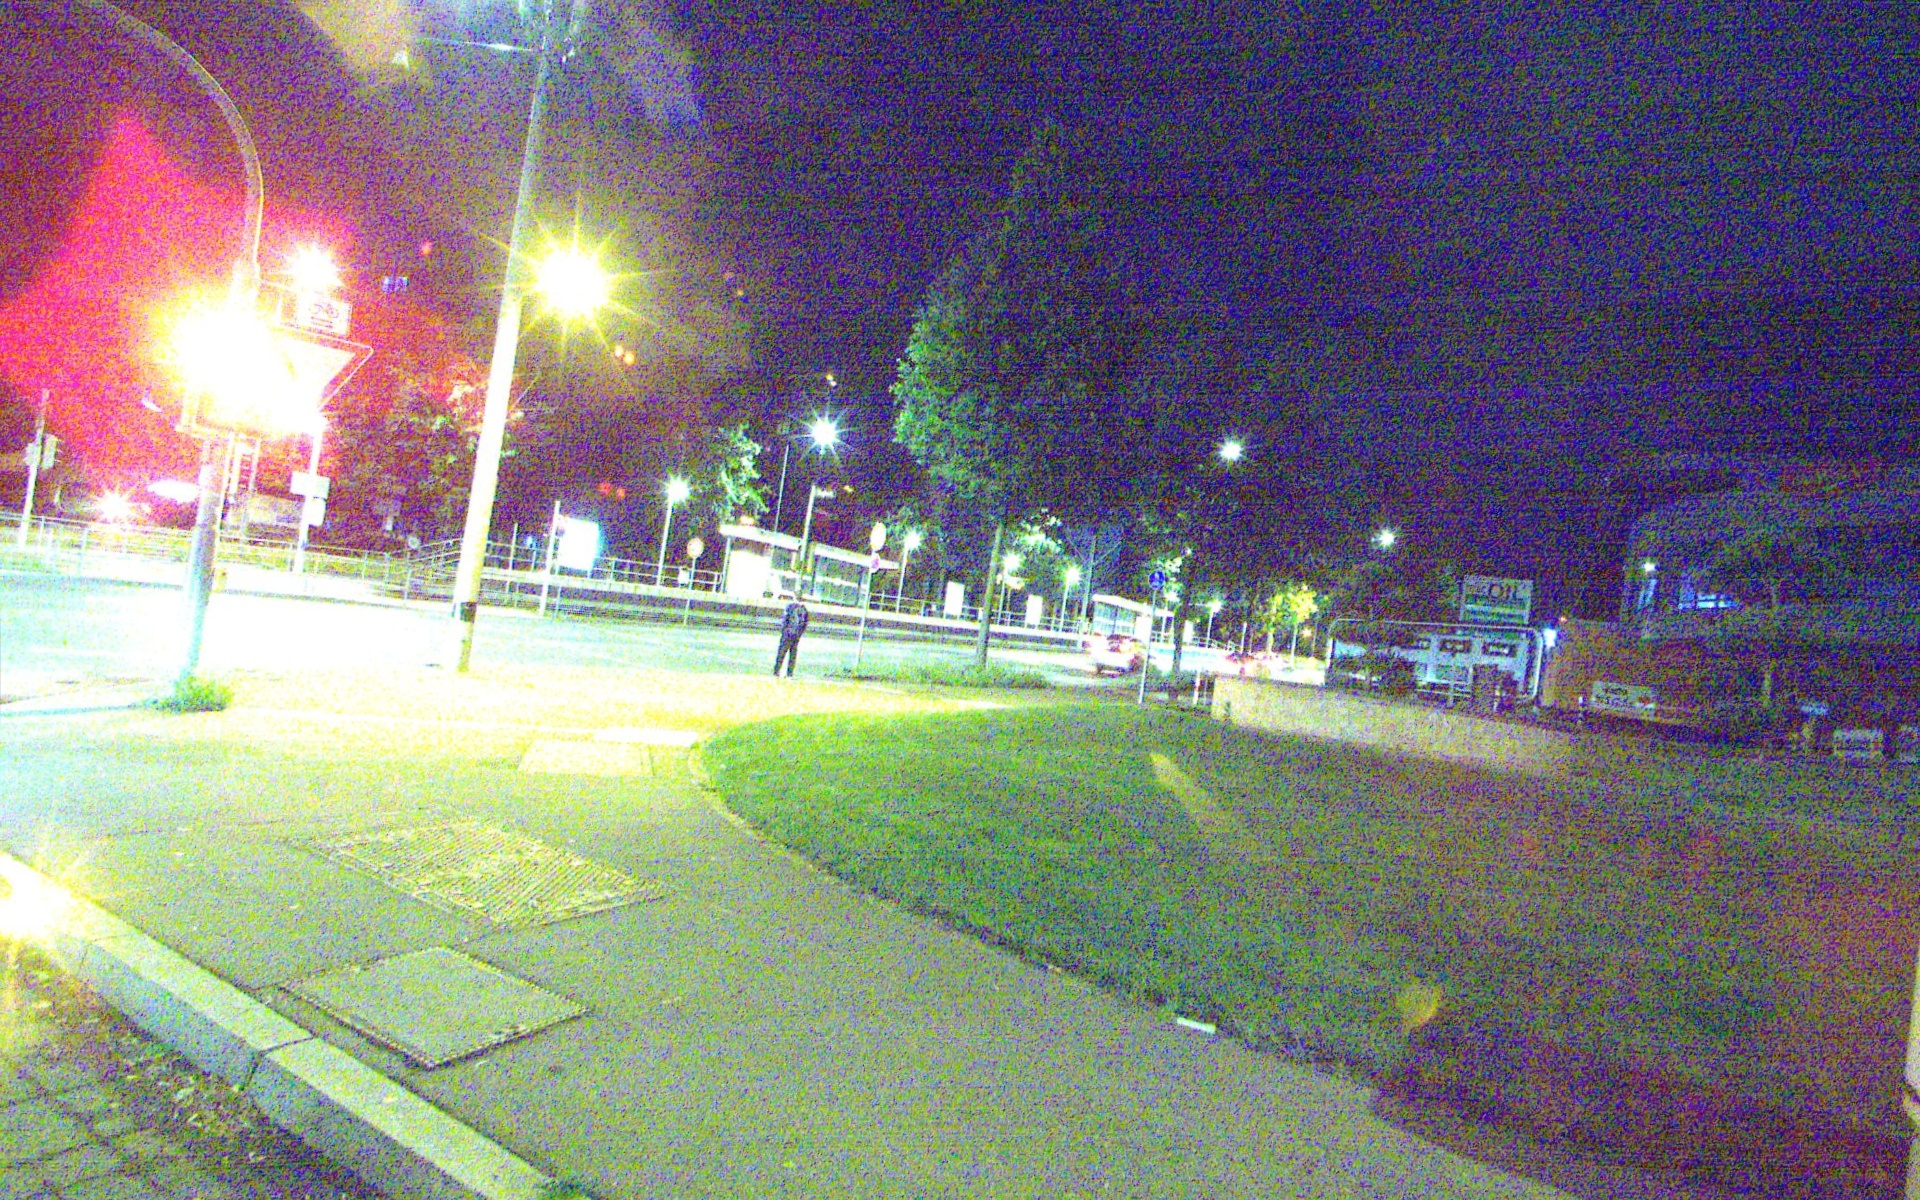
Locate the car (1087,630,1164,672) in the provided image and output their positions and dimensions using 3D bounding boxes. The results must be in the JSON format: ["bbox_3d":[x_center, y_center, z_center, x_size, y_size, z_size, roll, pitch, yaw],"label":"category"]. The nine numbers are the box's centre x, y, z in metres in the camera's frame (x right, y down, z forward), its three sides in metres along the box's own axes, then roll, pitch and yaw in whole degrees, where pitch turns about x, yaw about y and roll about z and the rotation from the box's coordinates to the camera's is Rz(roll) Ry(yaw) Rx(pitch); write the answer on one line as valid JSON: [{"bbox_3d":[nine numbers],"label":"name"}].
[{"bbox_3d":[8.150,2.529,49.268,1.784,1.584,4.514,10,0,35],"label":"car"}]

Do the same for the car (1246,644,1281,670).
[{"bbox_3d":[23.879,4.508,79.159,1.719,1.604,3.998,5,-3,29],"label":"car"}]

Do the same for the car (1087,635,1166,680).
[{"bbox_3d":[7.049,2.455,42.376,1.660,1.525,3.833,9,0,34],"label":"car"}]

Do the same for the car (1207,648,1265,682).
[{"bbox_3d":[15.422,3.633,56.087,1.833,1.510,4.477,8,0,31],"label":"car"}]

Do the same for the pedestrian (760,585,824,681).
[{"bbox_3d":[-3.251,0.637,19.514,0.820,1.767,0.755,4,0,31],"label":"pedestrian"}]

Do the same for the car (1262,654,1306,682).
[{"bbox_3d":[22.077,4.624,68.422,1.762,1.481,3.994,6,-2,33],"label":"car"}]
